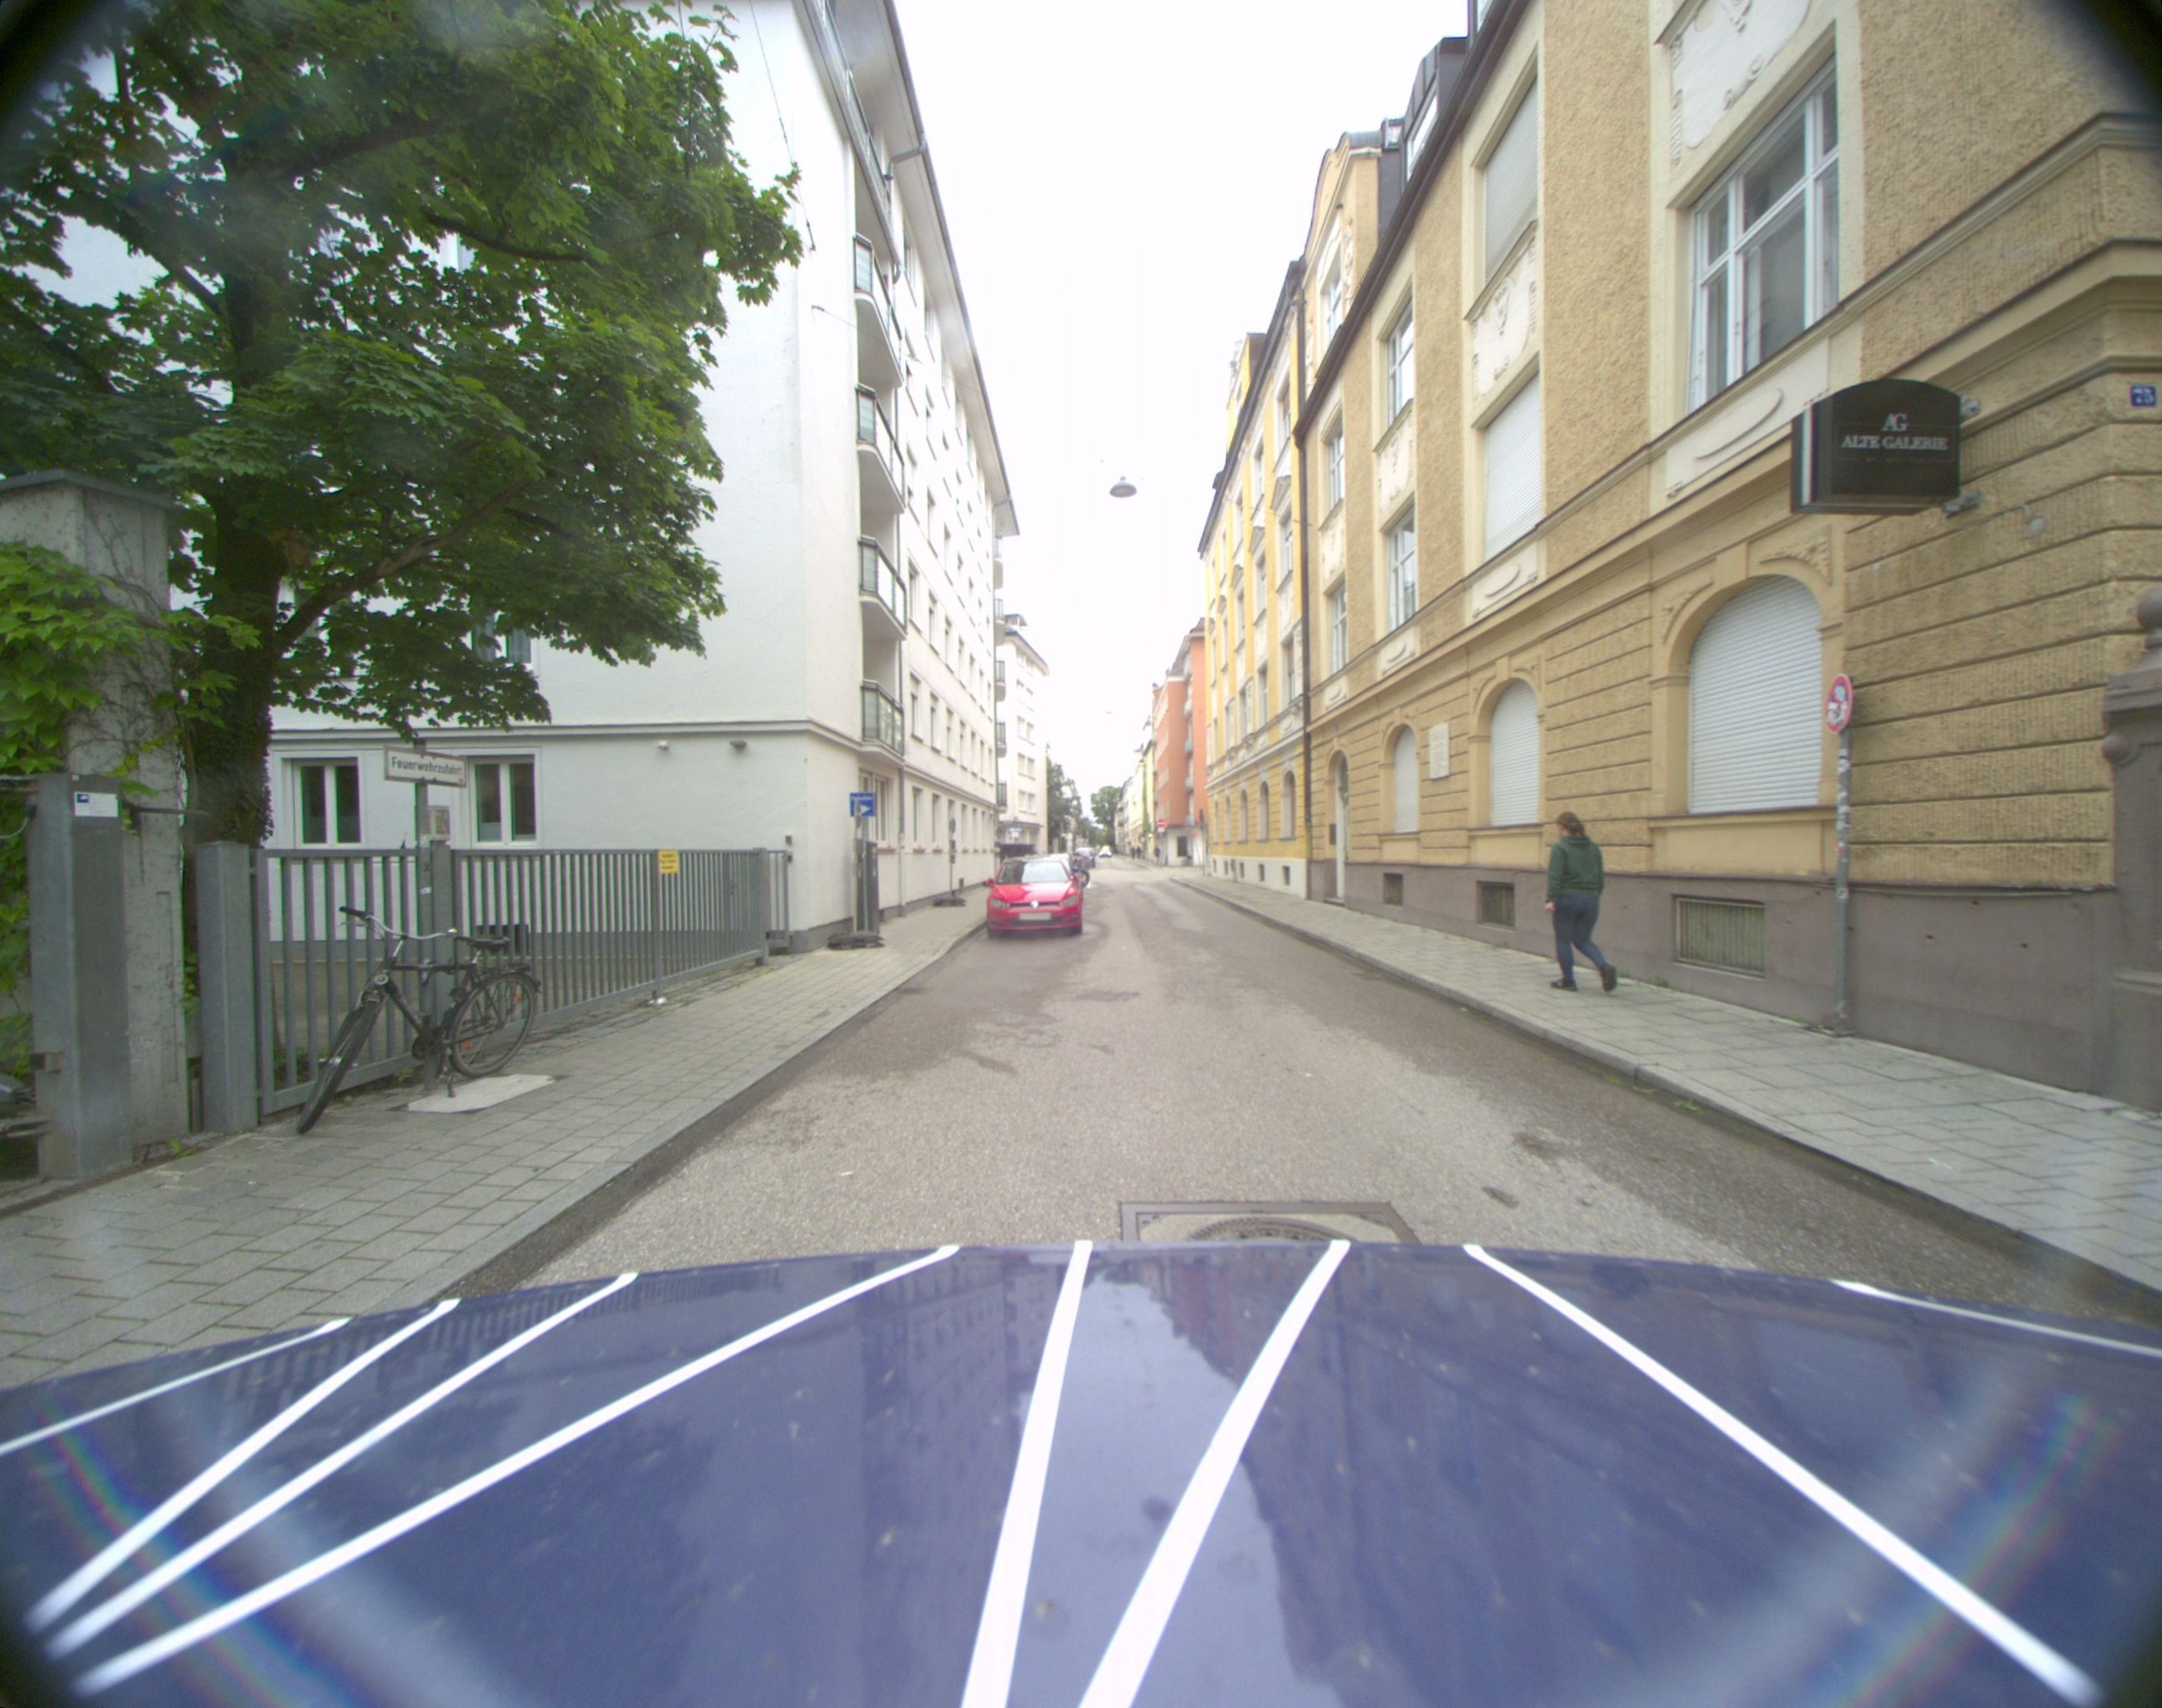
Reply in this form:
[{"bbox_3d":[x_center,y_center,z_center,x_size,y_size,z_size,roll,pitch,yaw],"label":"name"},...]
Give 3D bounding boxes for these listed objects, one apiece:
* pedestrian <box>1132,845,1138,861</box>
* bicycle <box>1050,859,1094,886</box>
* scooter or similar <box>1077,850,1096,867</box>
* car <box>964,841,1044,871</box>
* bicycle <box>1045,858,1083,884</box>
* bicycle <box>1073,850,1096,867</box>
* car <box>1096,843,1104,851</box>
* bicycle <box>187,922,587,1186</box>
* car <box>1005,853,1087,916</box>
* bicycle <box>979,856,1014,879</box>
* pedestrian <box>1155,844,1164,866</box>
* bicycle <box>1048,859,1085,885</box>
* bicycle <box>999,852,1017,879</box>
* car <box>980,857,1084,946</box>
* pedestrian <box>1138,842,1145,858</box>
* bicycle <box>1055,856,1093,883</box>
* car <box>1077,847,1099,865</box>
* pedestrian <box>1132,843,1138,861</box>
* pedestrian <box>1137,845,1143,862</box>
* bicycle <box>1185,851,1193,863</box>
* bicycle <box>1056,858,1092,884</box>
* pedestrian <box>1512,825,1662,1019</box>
[{"bbox_3d":[6.156,-0.107,86.666,0.726,1.783,0.830,0,1,2],"label":"pedestrian"},{"bbox_3d":[-0.362,0.735,30.541,1.707,1.038,0.360,1,2,2],"label":"bicycle"},{"bbox_3d":[0.370,0.335,54.020,1.340,1.207,0.344,0,1,4],"label":"scooter or similar"},{"bbox_3d":[-4.849,0.124,48.164,4.675,1.880,1.935,0,0,10],"label":"car"},{"bbox_3d":[-0.720,0.709,31.928,1.520,1.038,0.360,2,2,9],"label":"bicycle"},{"bbox_3d":[0.247,0.310,55.449,1.607,1.207,0.529,0,1,4],"label":"bicycle"},{"bbox_3d":[5.139,-1.950,203.953,1.998,2.002,4.646,-1,1,1],"label":"car"},{"bbox_3d":[-4.004,1.062,4.650,0.709,1.191,1.834,-1,-2,2],"label":"bicycle"},{"bbox_3d":[-0.839,0.749,20.787,1.799,1.430,4.383,-2,1,3],"label":"car"},{"bbox_3d":[-3.881,0.607,34.860,1.502,1.038,0.398,1,2,-17],"label":"bicycle"},{"bbox_3d":[6.149,0.060,59.698,0.613,1.684,0.566,0,1,1],"label":"pedestrian"},{"bbox_3d":[-0.599,0.726,31.012,1.438,1.038,0.330,2,2,9],"label":"bicycle"},{"bbox_3d":[-3.517,0.546,36.701,0.399,1.198,1.502,1,2,-23],"label":"bicycle"},{"bbox_3d":[-1.025,0.837,15.509,1.766,1.438,4.296,-2,1,-4],"label":"car"},{"bbox_3d":[6.919,-0.433,86.820,0.699,1.783,0.763,0,1,2],"label":"pedestrian"},{"bbox_3d":[-0.315,0.700,33.927,1.699,1.154,0.378,-1,1,0],"label":"bicycle"},{"bbox_3d":[0.595,0.130,61.838,1.653,1.391,4.000,0,1,2],"label":"car"},{"bbox_3d":[6.134,-0.264,86.809,0.635,2.002,0.788,0,1,2],"label":"pedestrian"},{"bbox_3d":[6.791,-0.058,86.794,0.635,2.002,0.788,0,1,2],"label":"pedestrian"},{"bbox_3d":[7.951,0.216,56.015,0.391,0.932,1.540,0,1,2],"label":"bicycle"},{"bbox_3d":[-0.303,0.710,32.256,1.441,1.038,0.360,2,2,10],"label":"bicycle"},{"bbox_3d":[4.703,0.595,7.124,0.714,1.656,0.929,-4,1,1],"label":"pedestrian"}]
